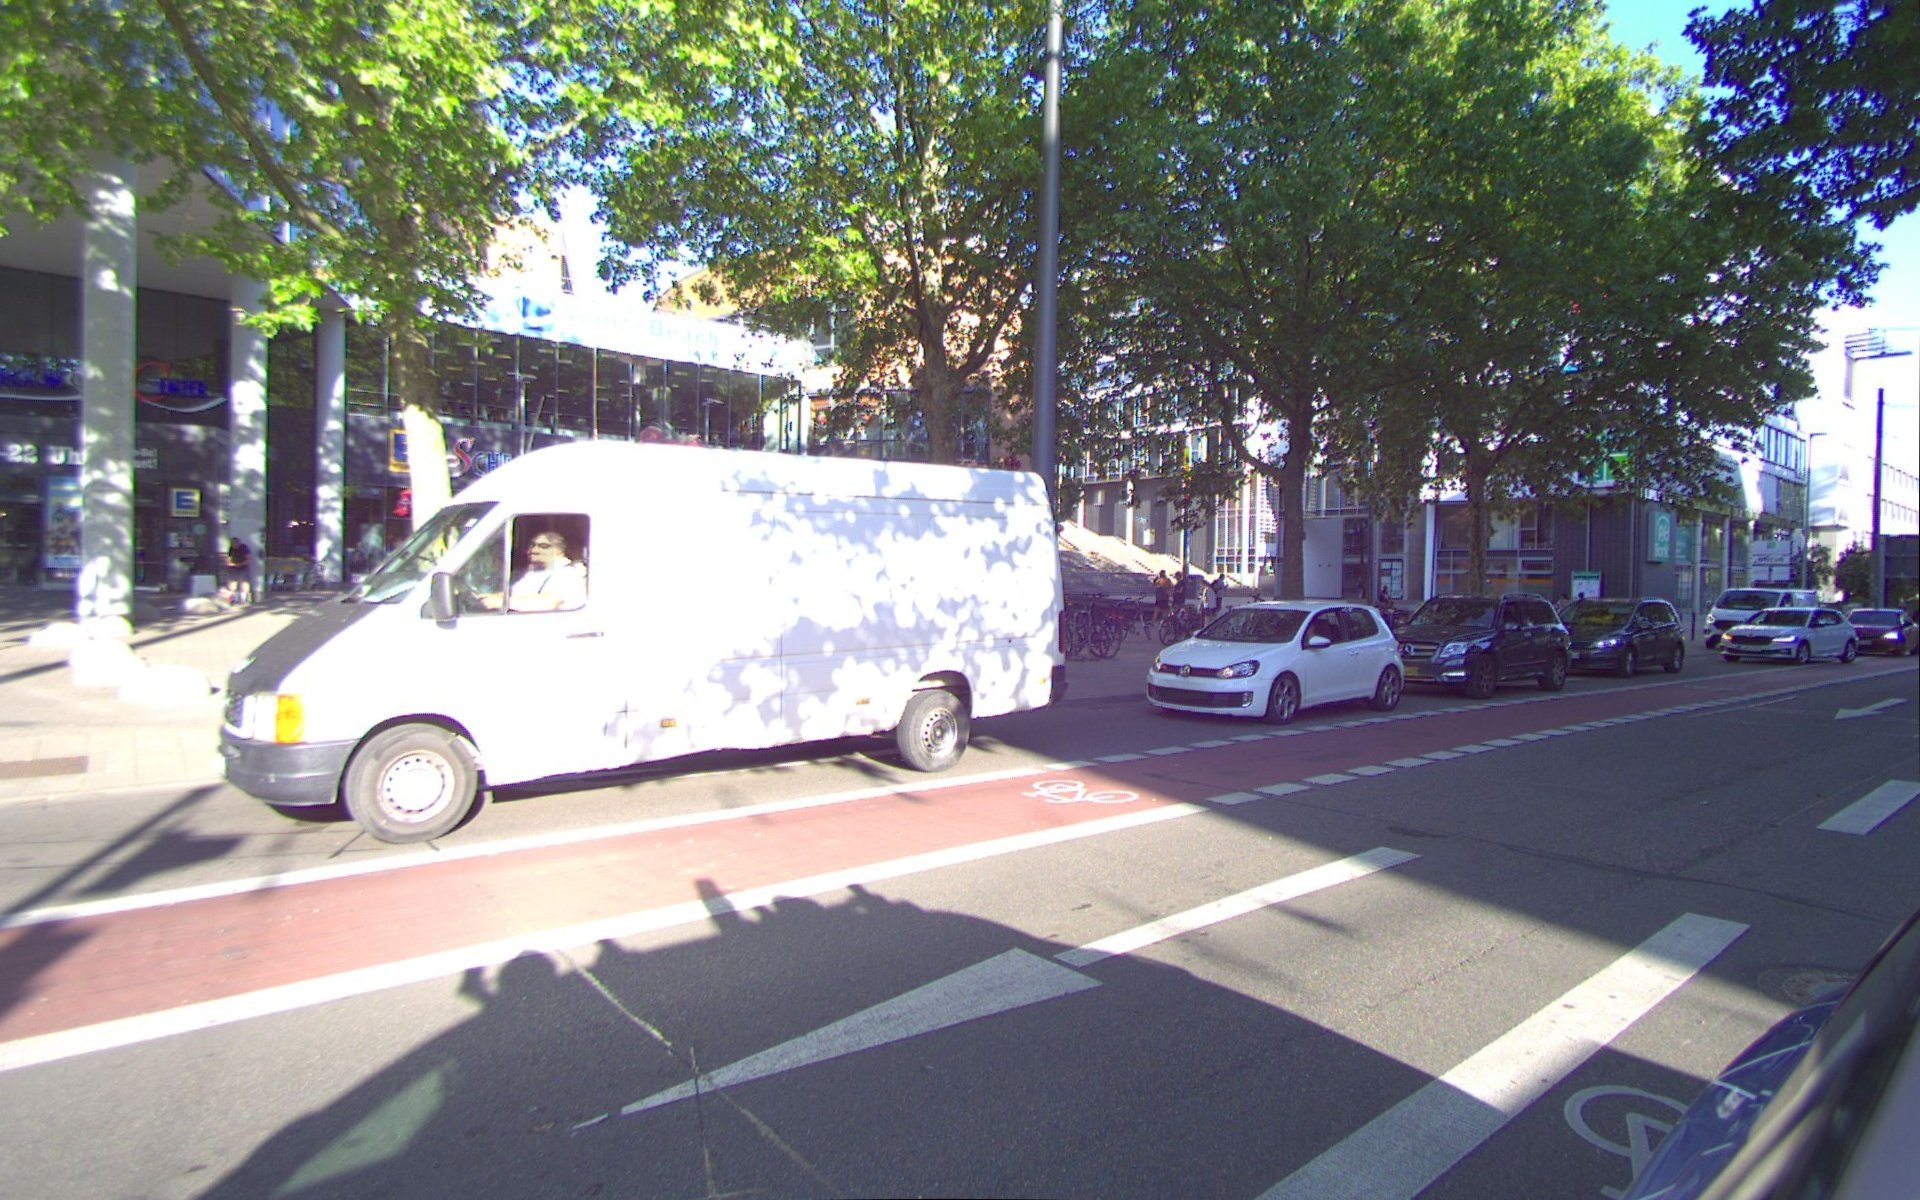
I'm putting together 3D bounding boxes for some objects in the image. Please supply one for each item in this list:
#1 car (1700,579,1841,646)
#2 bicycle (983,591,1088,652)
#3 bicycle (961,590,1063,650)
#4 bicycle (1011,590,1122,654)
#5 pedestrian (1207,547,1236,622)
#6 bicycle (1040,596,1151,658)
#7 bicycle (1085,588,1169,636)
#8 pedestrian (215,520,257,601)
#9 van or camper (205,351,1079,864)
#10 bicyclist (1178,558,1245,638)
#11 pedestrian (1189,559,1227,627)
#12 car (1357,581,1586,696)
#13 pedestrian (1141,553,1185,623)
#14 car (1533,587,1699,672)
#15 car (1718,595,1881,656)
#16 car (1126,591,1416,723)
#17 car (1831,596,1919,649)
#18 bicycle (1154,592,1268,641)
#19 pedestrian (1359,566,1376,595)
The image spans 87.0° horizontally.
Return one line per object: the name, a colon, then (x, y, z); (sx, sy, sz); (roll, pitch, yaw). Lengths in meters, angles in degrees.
car: (26.006, 0.356, 32.397); (5.805, 1.989, 1.935); (0, 0, -35)
bicycle: (1.539, 0.408, 20.448); (2.263, 1.177, 0.671); (-1, 0, -38)
bicycle: (1.095, 0.382, 21.005); (2.251, 1.177, 0.657); (-1, 0, -38)
bicycle: (2.119, 0.402, 19.896); (2.355, 1.177, 0.750); (-1, 0, -40)
pedestrian: (9.562, -0.556, 37.015); (0.967, 2.681, 0.897); (0, 0, 18)
bicycle: (2.579, 0.480, 19.060); (2.295, 1.073, 0.682); (-1, 1, -39)
bicycle: (4.499, 0.298, 27.117); (2.653, 1.215, 0.698); (-1, 1, -41)
pedestrian: (-18.740, -1.006, 26.210); (0.843, 2.039, 1.024); (0, 0, -34)
van or camper: (-1.975, 0.009, 8.081); (6.384, 2.647, 2.004); (0, 1, -41)
bicyclist: (6.617, -0.068, 26.668); (1.132, 2.039, 1.301); (0, 1, -24)
pedestrian: (8.340, -0.229, 34.047); (0.884, 2.261, 0.845); (0, 0, -19)
car: (8.465, 0.548, 16.614); (4.172, 1.656, 1.769); (0, 0, -38)
pedestrian: (6.744, -0.408, 33.630); (1.195, 2.276, 1.052); (0, 0, -3)
car: (14.043, 0.560, 21.583); (4.311, 1.656, 1.710); (0, 0, -39)
car: (22.160, 0.629, 26.692); (4.109, 1.508, 1.840); (0, 0, -27)
car: (4.079, 0.621, 12.994); (3.914, 1.446, 1.639); (0, 0, -38)
car: (28.486, 0.658, 31.056); (4.117, 1.508, 1.836); (0, -1, -37)
bicycle: (6.566, 0.395, 26.786); (1.124, 1.097, 3.342); (0, 2, -23)
pedestrian: (28.662, -1.345, 71.258); (0.860, 2.039, 0.796); (0, 0, -41)
